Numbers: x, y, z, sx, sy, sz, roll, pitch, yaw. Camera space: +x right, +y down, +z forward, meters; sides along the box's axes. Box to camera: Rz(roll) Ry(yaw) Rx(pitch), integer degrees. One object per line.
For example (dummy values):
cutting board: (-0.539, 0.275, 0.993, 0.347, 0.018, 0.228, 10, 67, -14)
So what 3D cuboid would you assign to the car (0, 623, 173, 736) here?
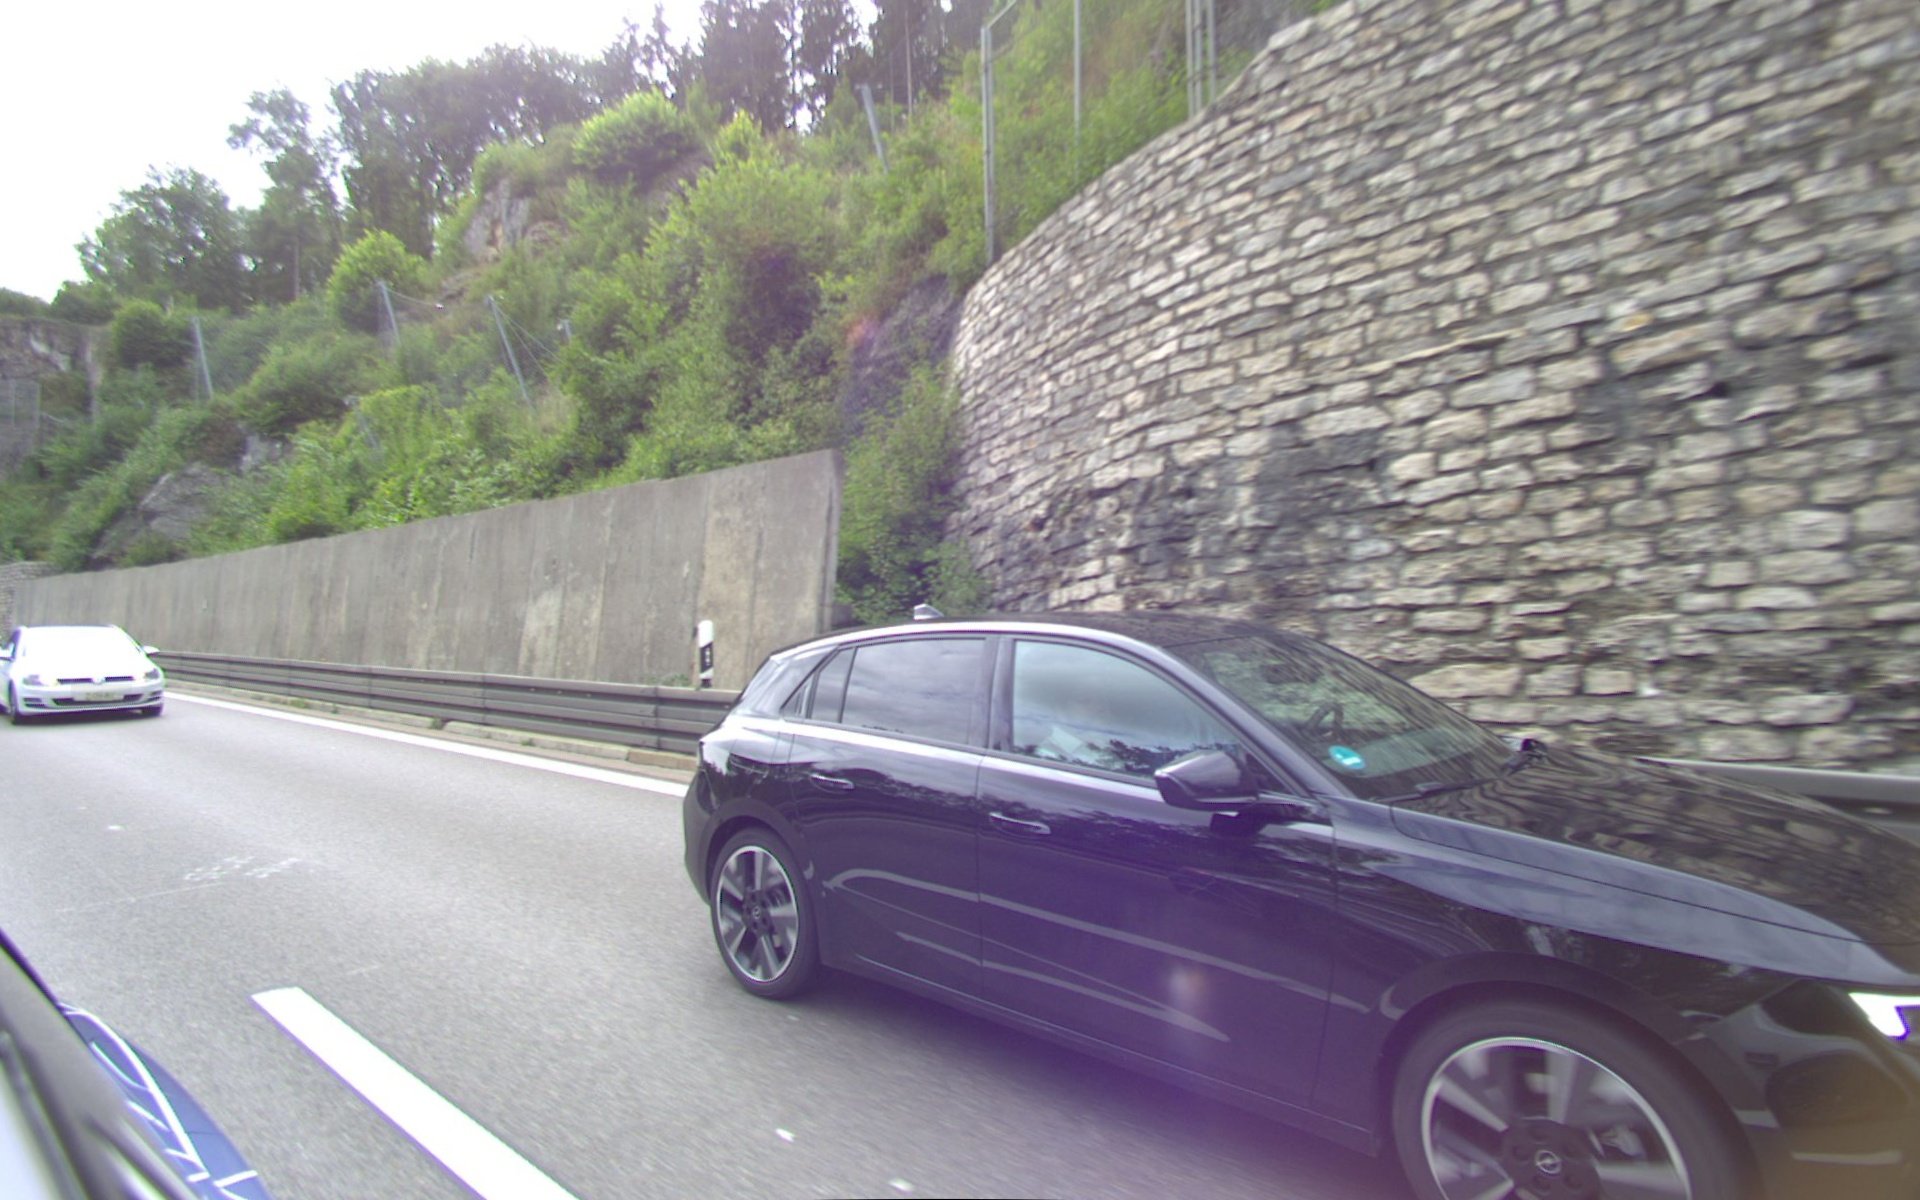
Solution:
car: (-14.130, 1.139, 16.030, 4.626, 1.493, 1.825, -1, -1, 42)

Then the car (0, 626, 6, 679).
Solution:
car: (-29.402, 1.557, 29.446, 5.131, 1.468, 1.809, -2, -1, 40)

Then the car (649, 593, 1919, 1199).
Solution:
car: (1.004, 0.751, 3.318, 4.580, 1.472, 1.754, -1, -1, 42)
